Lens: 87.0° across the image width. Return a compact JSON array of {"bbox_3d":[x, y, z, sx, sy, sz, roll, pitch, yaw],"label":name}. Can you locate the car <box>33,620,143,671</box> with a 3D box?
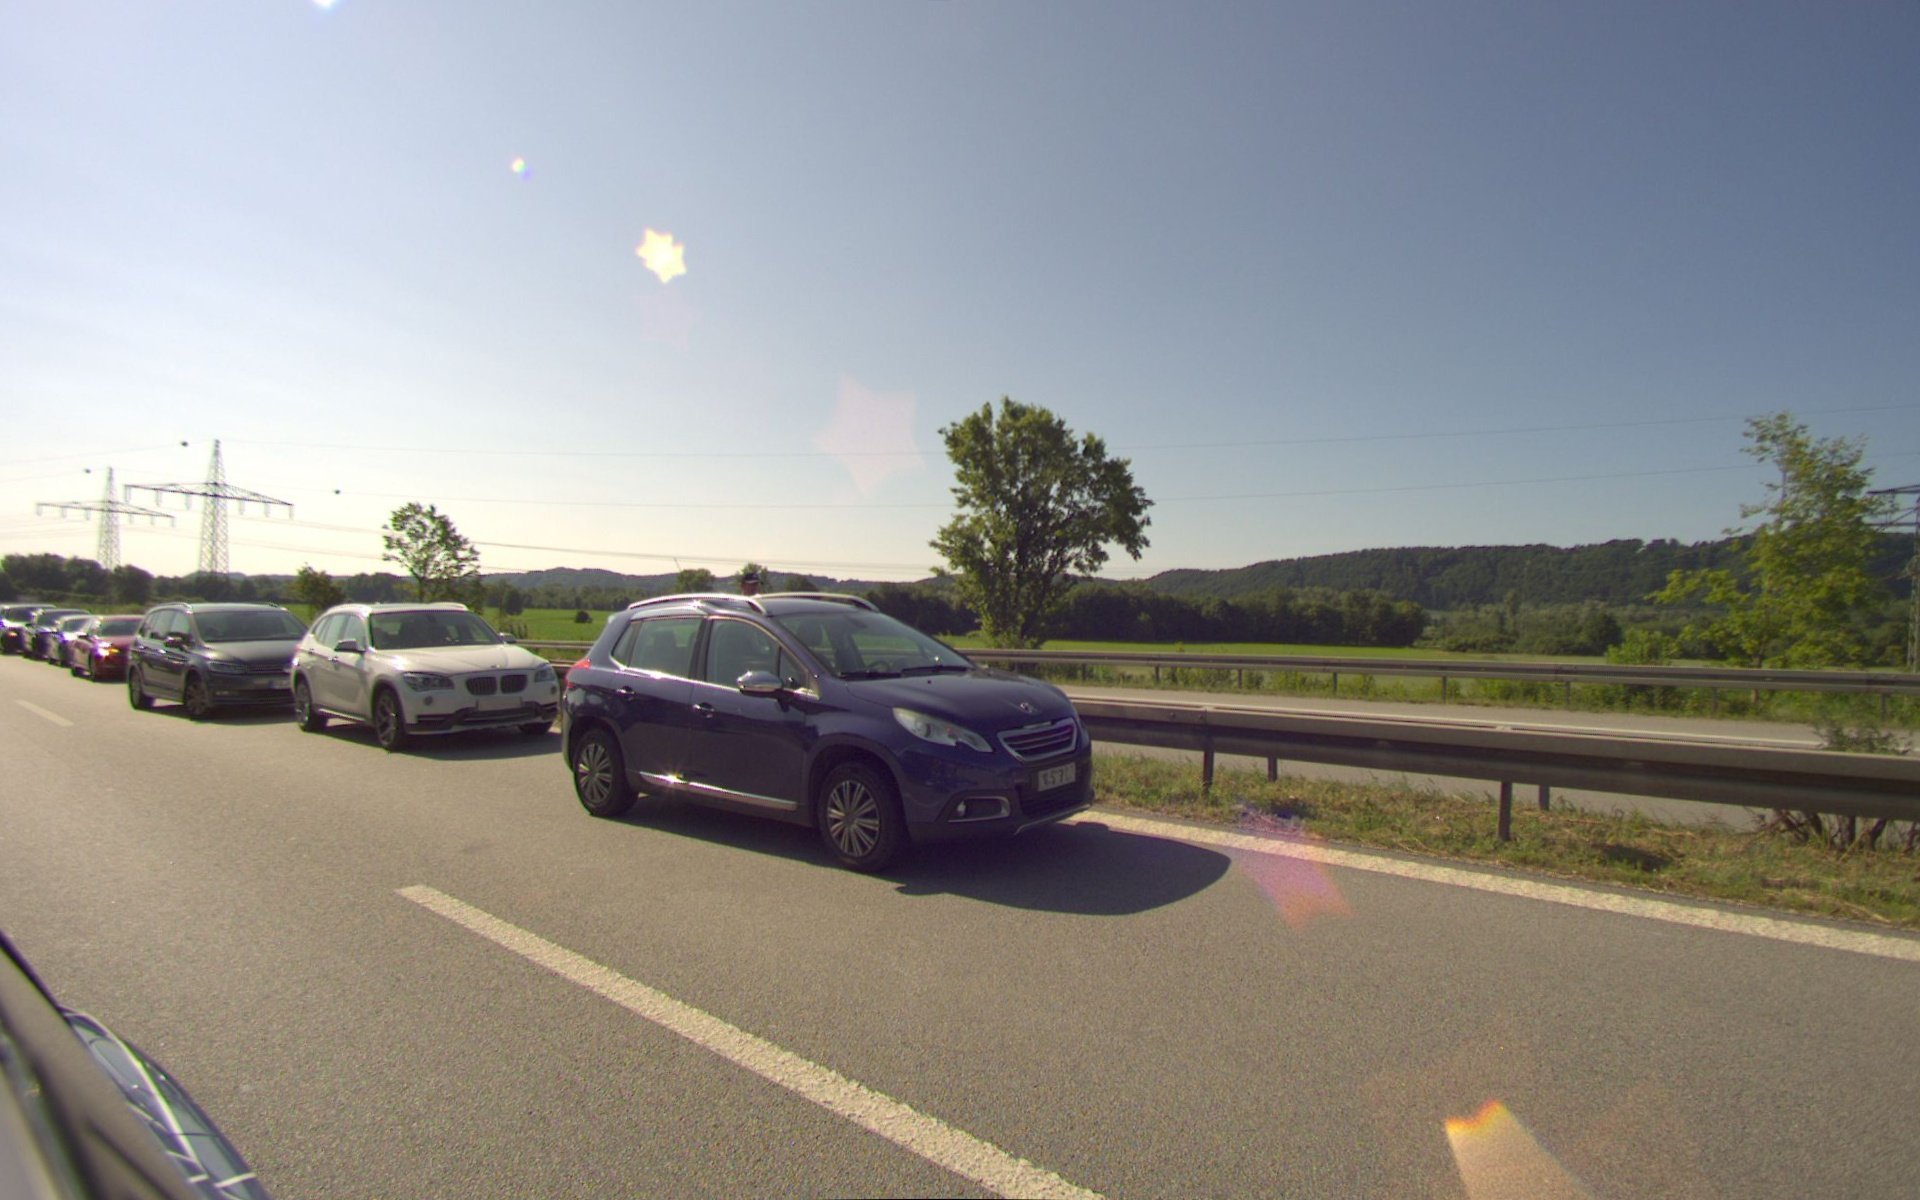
[{"bbox_3d":[-25.570,1.285,29.654,3.998,1.409,1.870,-1,-2,41],"label":"car"}]

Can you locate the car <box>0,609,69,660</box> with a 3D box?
[{"bbox_3d":[-35.298,1.278,38.215,4.197,1.801,1.877,-1,-2,41],"label":"car"}]

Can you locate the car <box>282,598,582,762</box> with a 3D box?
[{"bbox_3d":[-6.315,0.812,11.912,4.162,1.586,1.808,-1,-1,42],"label":"car"}]

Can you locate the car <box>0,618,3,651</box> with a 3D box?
[{"bbox_3d":[-47.839,1.666,48.865,3.998,1.542,1.973,-1,-2,41],"label":"car"}]

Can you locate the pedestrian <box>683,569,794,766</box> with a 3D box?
[{"bbox_3d":[-2.097,0.613,9.591,0.814,1.763,0.663,-1,-2,41],"label":"pedestrian"}]

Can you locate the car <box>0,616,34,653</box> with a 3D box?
[{"bbox_3d":[-40.805,1.445,42.804,3.998,1.542,1.973,-1,-2,41],"label":"car"}]

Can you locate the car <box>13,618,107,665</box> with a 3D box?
[{"bbox_3d":[-30.057,1.345,33.772,3.999,1.466,1.869,-1,-2,42],"label":"car"}]

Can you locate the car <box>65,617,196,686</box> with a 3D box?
[{"bbox_3d":[-19.350,1.146,23.551,4.117,1.470,1.795,-1,-2,43],"label":"car"}]

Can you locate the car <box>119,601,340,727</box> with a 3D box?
[{"bbox_3d":[-11.045,0.864,15.200,4.115,1.628,1.796,-1,0,41],"label":"car"}]

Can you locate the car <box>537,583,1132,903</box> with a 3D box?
[{"bbox_3d":[-1.006,0.709,6.788,3.943,1.546,1.671,-1,0,38],"label":"car"}]
